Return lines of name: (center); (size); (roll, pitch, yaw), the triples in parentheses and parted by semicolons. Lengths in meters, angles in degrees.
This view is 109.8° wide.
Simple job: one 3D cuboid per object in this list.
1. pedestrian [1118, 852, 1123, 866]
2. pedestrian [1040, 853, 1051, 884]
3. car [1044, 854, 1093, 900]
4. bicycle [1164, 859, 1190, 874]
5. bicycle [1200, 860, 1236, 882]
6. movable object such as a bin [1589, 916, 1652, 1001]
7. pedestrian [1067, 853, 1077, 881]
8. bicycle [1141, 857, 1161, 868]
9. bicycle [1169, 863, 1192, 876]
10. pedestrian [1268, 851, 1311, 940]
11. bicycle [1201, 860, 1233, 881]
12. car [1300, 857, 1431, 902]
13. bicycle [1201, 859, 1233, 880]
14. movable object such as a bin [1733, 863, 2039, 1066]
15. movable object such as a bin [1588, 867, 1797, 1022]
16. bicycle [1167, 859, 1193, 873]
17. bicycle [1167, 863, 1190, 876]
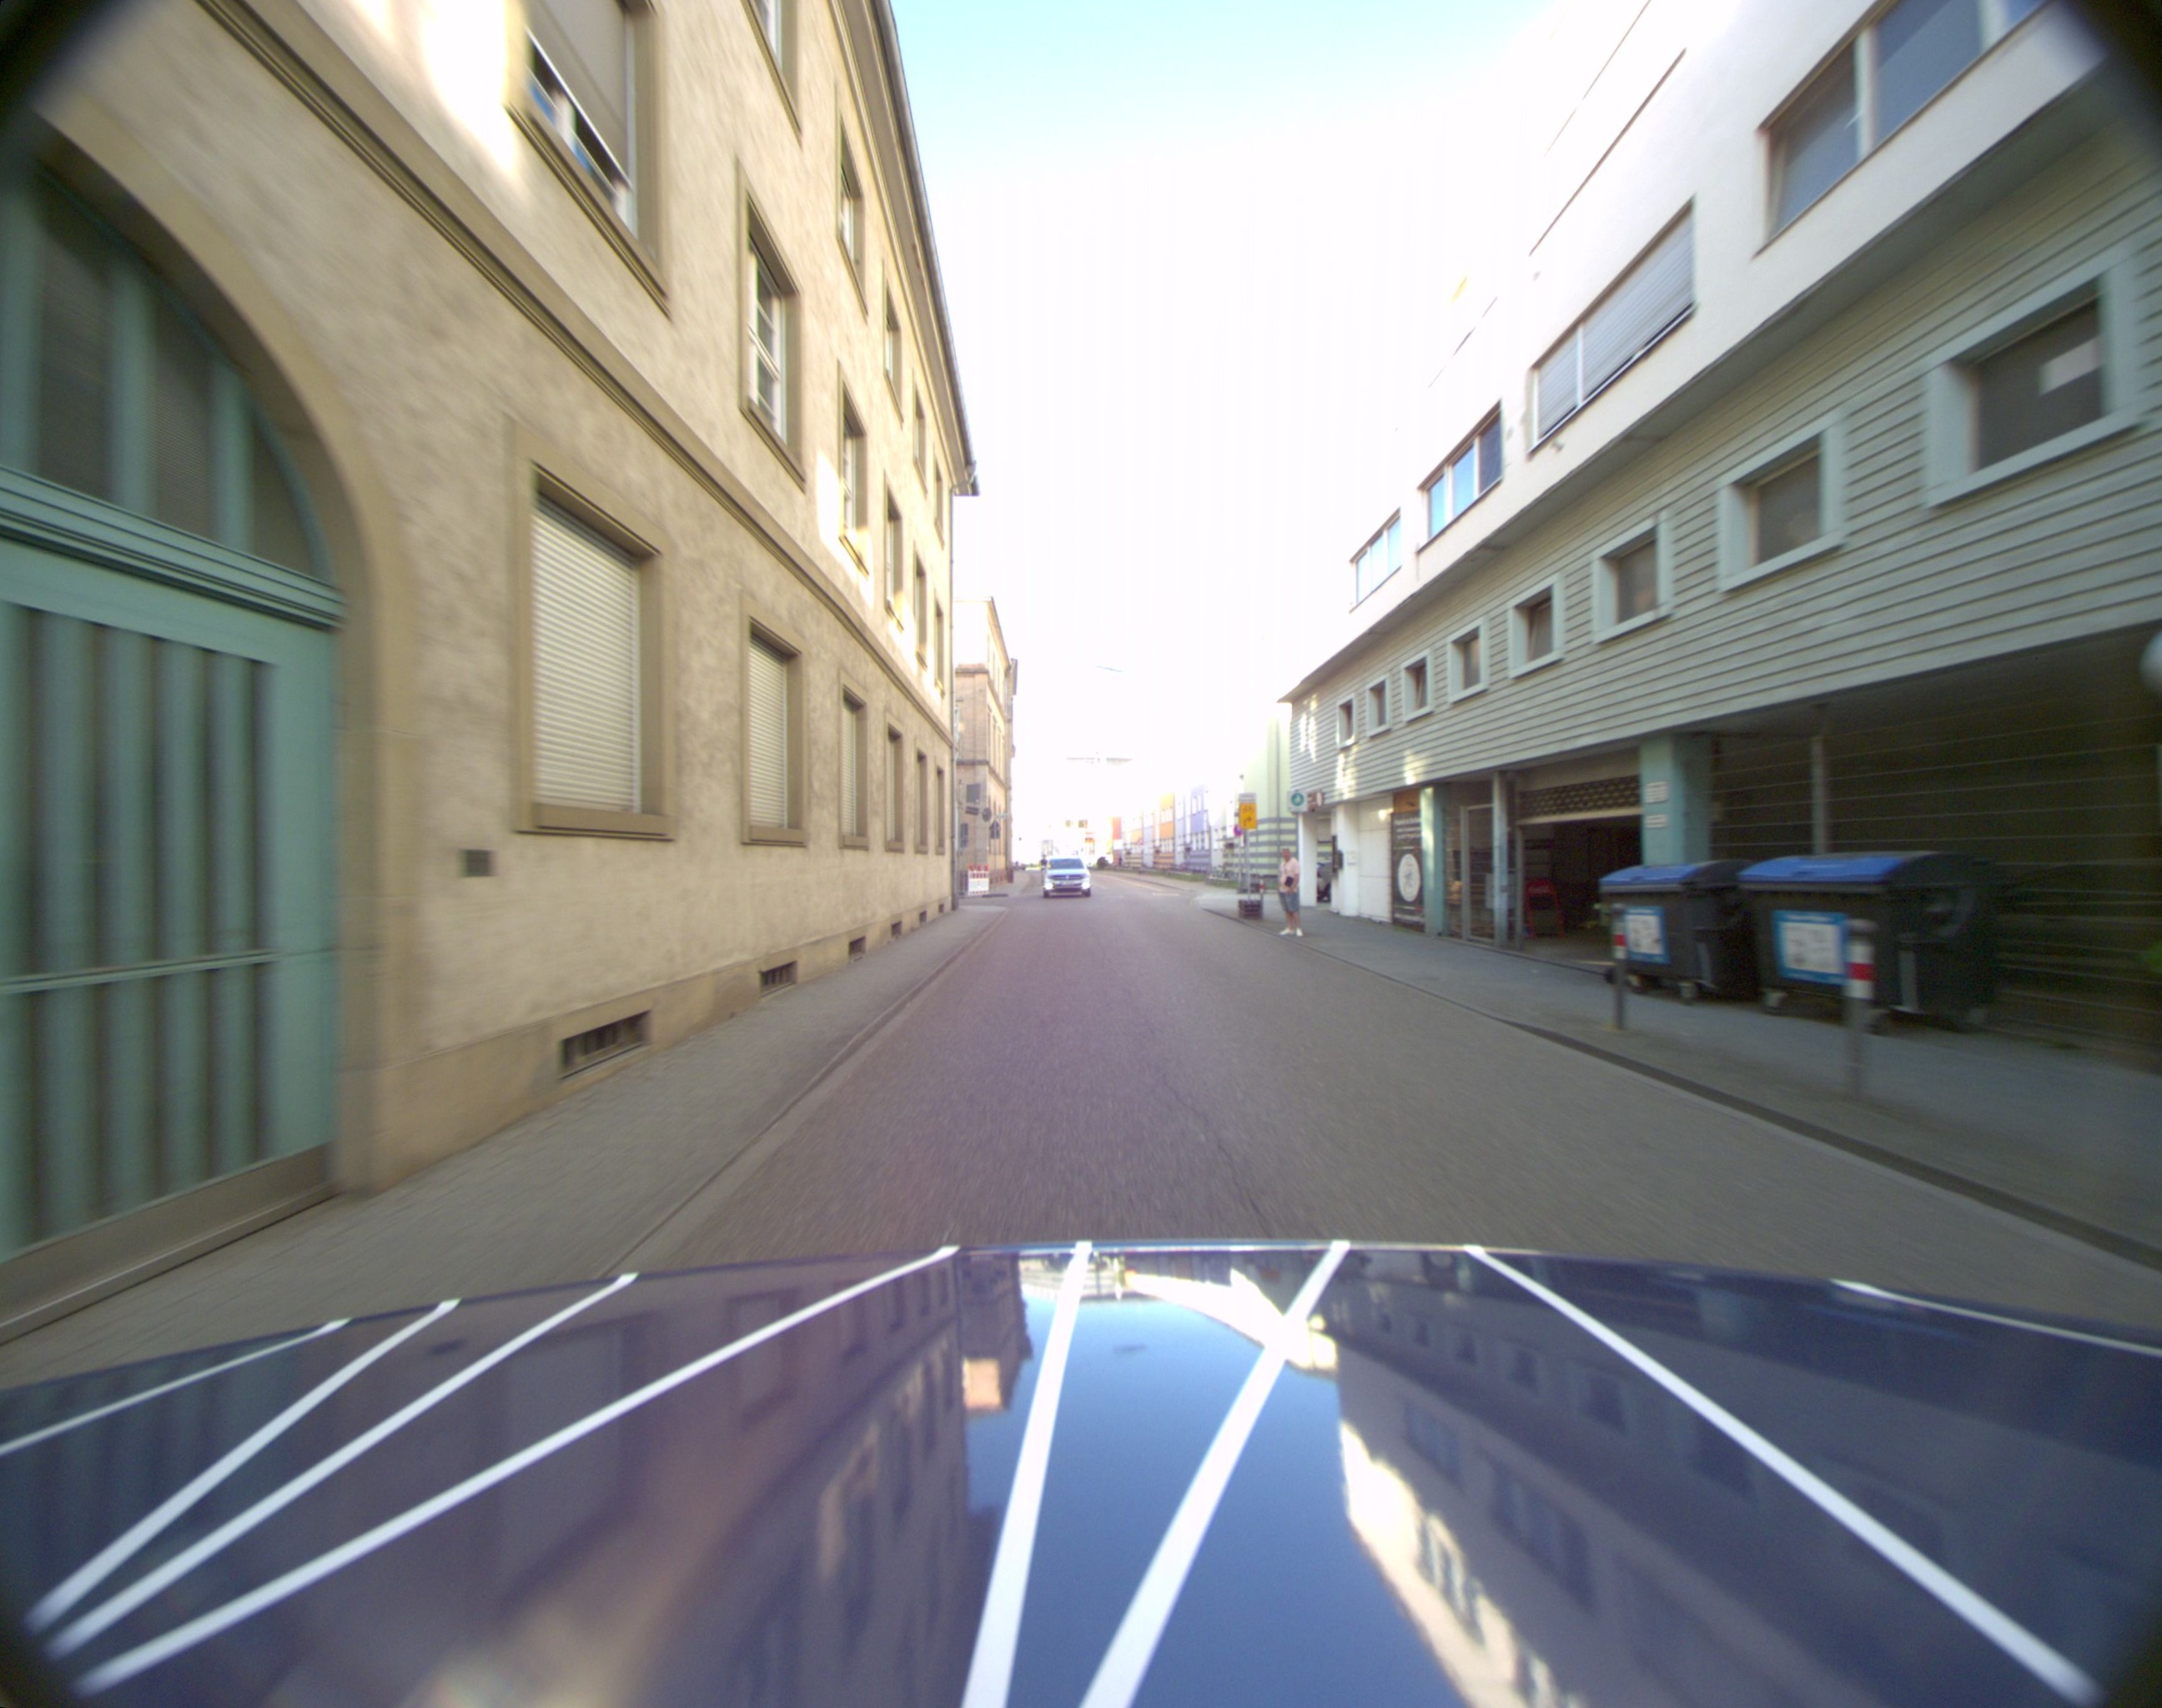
pedestrian: (4.633, 0.583, 89.047); (0.612, 1.641, 0.447); (0, 0, -8)
pedestrian: (-2.258, 0.898, 48.351); (0.677, 1.928, 0.858); (0, 0, -2)
car: (-0.484, 0.818, 29.464); (1.683, 1.568, 4.242); (-3, 0, -1)
bicycle: (7.054, 0.913, 56.069); (1.803, 0.940, 0.388); (-4, 1, -2)
bicycle: (7.596, 0.936, 42.171); (1.821, 1.094, 0.749); (-4, 0, -2)
movable object such as a bin: (6.347, 1.219, 8.950); (0.394, 0.936, 0.467); (0, 0, -1)
pedestrian: (-0.601, 0.816, 48.493); (0.603, 1.770, 0.652); (0, 0, -2)
bicycle: (6.683, 0.799, 72.747); (1.808, 0.977, 0.654); (-4, 1, -5)
bicycle: (7.576, 1.189, 58.036); (1.658, 0.940, 0.388); (-4, 1, -2)
pedestrian: (4.041, 0.794, 14.762); (0.494, 1.660, 0.627); (-3, 1, -14)
bicycle: (7.820, 0.920, 43.614); (1.739, 1.094, 0.388); (-4, 1, -9)
car: (9.859, 0.849, 26.546); (3.943, 1.511, 1.692); (0, 0, -3)
bicycle: (7.888, 0.919, 44.021); (1.739, 1.094, 0.388); (-4, 1, -9)
movable object such as a bin: (6.585, 0.837, 6.339); (1.125, 1.511, 1.342); (0, -1, -1)
movable object such as a bin: (6.281, 0.875, 7.932); (0.971, 1.462, 1.474); (0, -1, -1)
bicycle: (7.400, 0.869, 56.772); (1.803, 0.940, 0.388); (-4, 1, -2)
bicycle: (7.521, 1.184, 58.440); (1.658, 0.940, 0.388); (-4, 1, -2)
